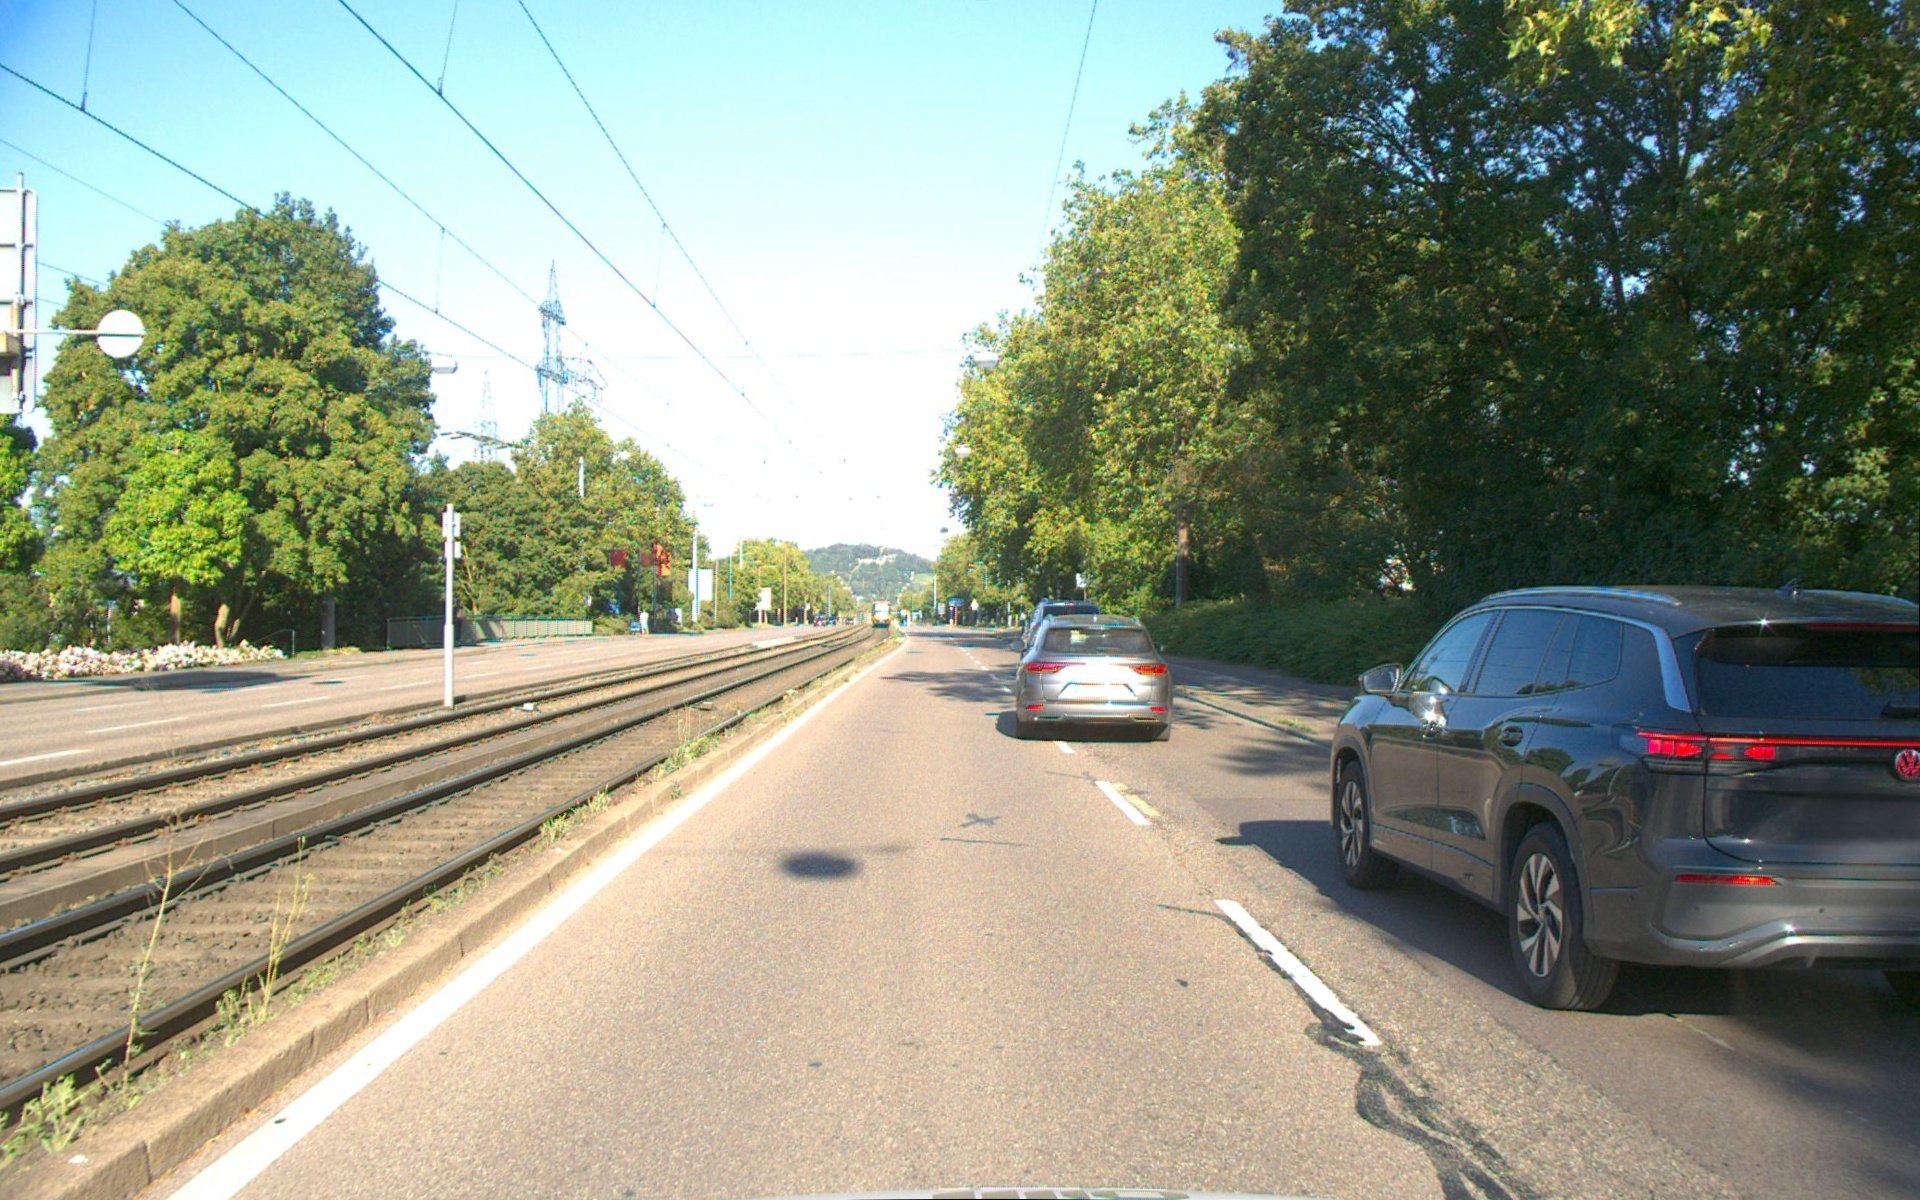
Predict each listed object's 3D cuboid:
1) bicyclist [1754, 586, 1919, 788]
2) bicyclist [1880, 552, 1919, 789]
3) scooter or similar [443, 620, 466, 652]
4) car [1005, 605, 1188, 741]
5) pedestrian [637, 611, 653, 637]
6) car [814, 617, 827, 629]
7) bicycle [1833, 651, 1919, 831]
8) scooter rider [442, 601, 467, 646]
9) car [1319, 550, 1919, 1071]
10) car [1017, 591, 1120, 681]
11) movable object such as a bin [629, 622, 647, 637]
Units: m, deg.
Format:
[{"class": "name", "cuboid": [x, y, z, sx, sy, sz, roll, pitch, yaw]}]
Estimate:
[{"class": "bicyclist", "cuboid": [5.702, 0.542, 10.745, 0.628, 1.247, 0.890, -1, 0, -2]}, {"class": "bicyclist", "cuboid": [6.571, 0.460, 10.752, 0.671, 1.535, 0.890, 0, 0, -2]}, {"class": "scooter or similar", "cuboid": [-21.064, 1.479, 68.934, 0.462, 1.319, 1.263, 0, 0, 5]}, {"class": "car", "cuboid": [1.575, 0.833, 20.687, 1.828, 1.493, 4.664, 0, -1, -1]}, {"class": "pedestrian", "cuboid": [-21.775, 1.651, 114.405, 0.709, 1.787, 0.835, 2, -2, 20]}, {"class": "car", "cuboid": [-21.136, 3.528, 250.368, 1.825, 1.750, 3.998, 0, 0, -2]}, {"class": "bicycle", "cuboid": [6.587, 0.940, 10.938, 0.609, 1.140, 1.812, -1, 0, -2]}, {"class": "scooter rider", "cuboid": [-21.058, 0.980, 68.935, 0.667, 1.881, 1.001, -1, 0, 6]}, {"class": "car", "cuboid": [3.127, 0.715, 7.665, 1.807, 1.690, 4.438, 1, 0, -2]}, {"class": "car", "cuboid": [2.357, 0.756, 36.890, 1.845, 1.827, 3.998, 2, 0, -2]}, {"class": "movable object such as a bin", "cuboid": [-22.117, 2.010, 113.486, 0.709, 0.978, 1.101, 2, -2, 20]}]
